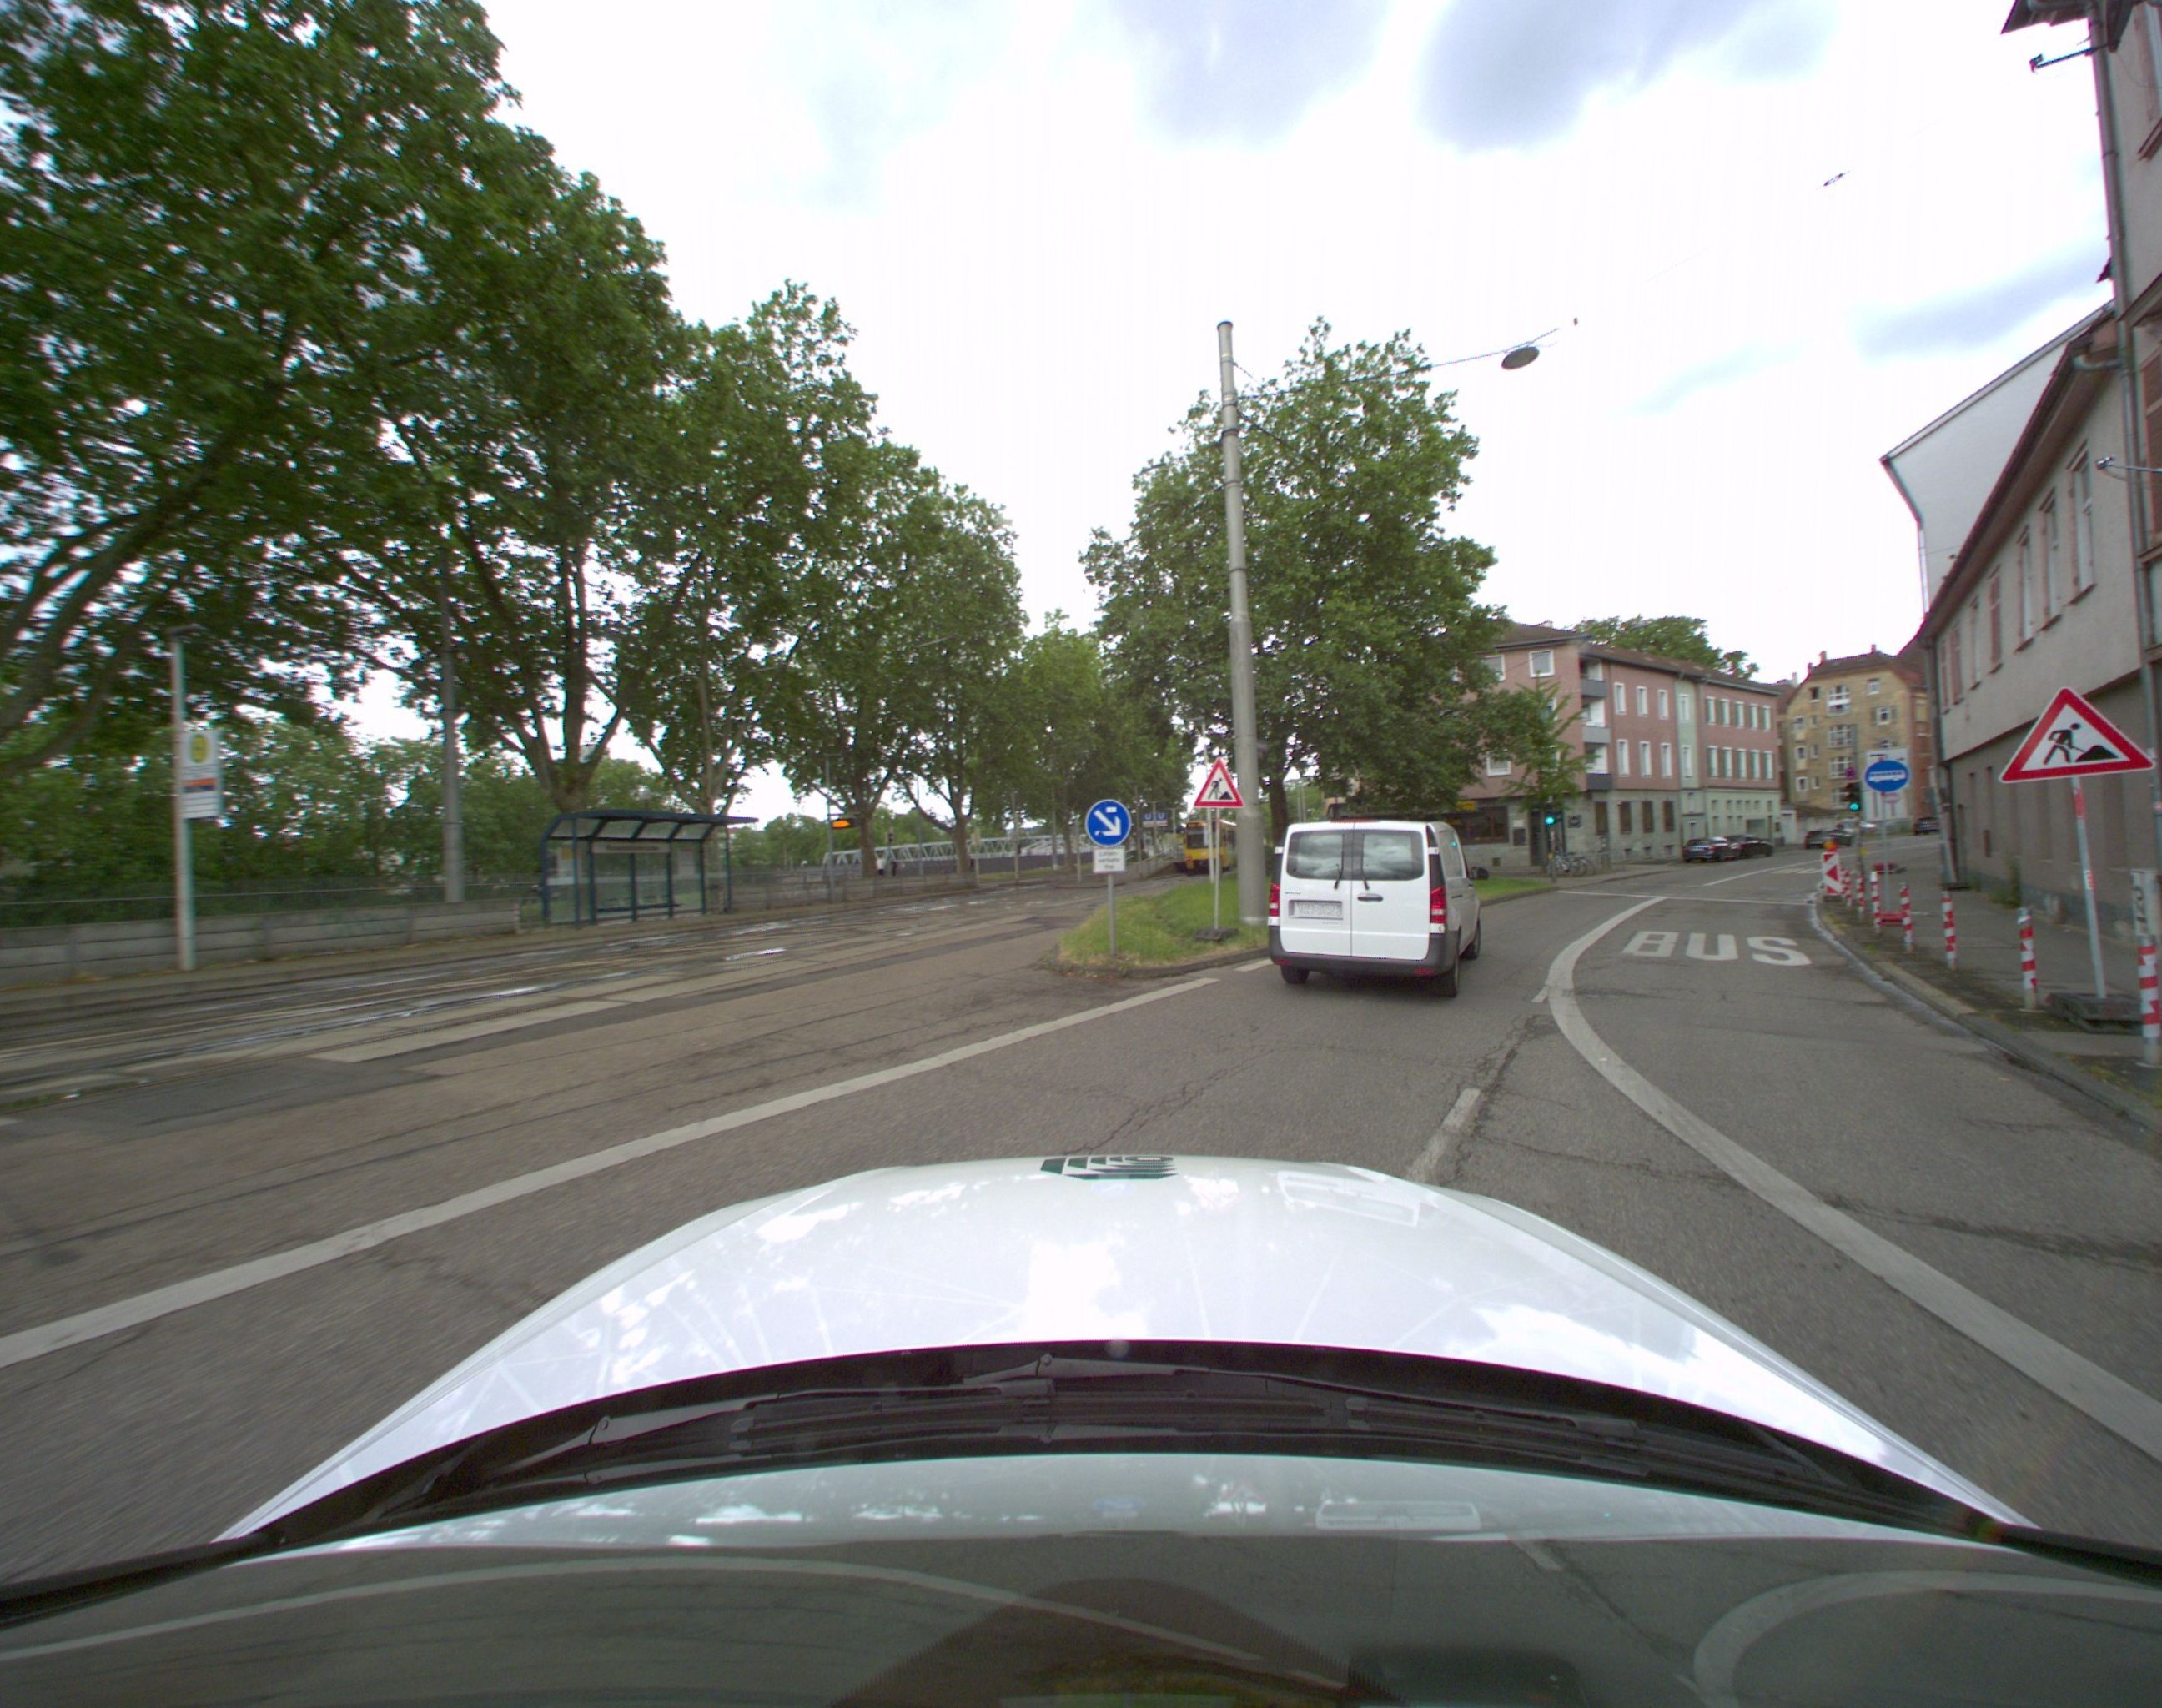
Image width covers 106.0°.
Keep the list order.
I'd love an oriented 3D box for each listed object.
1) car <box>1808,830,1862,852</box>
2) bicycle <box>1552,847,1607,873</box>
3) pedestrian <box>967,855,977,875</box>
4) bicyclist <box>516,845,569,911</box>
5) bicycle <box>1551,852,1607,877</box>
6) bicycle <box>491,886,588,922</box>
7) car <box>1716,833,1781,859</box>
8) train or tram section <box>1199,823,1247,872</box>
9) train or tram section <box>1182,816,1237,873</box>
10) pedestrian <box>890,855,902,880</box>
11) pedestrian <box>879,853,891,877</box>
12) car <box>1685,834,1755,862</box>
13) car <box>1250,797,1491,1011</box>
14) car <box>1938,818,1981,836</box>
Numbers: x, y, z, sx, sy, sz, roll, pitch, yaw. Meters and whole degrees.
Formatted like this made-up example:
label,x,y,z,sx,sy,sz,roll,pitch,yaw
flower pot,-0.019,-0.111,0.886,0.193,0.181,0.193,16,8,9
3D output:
label,x,y,z,sx,sy,sz,roll,pitch,yaw
car,54.478,-0.942,58.811,4.017,1.398,1.978,-2,-2,-35
bicycle,21.478,0.266,35.144,1.978,1.035,0.566,-2,-1,29
pedestrian,-8.418,0.881,62.912,0.540,1.498,0.646,-3,-2,14
bicyclist,-17.149,0.770,25.962,0.947,2.014,0.982,-4,-2,18
bicycle,20.811,0.443,34.081,1.978,1.035,0.566,-2,-1,29
bicycle,-17.141,1.559,25.863,0.924,1.014,2.508,-4,-2,18
car,40.519,-0.503,49.435,4.017,1.398,1.978,-2,-2,-35
train or tram section,11.087,-0.408,63.106,2.559,3.451,7.789,-4,-2,16
train or tram section,8.899,-0.529,55.621,2.559,3.451,7.789,-4,-2,16
pedestrian,-11.232,0.813,49.407,0.468,1.451,0.513,-3,-2,14
pedestrian,-11.973,0.662,49.633,0.468,1.451,0.513,-3,-2,14
car,36.436,-0.339,46.408,4.017,1.398,1.978,-2,-2,-35
car,3.859,0.506,10.218,1.932,2.014,4.727,-2,-1,30
car,78.233,-2.385,72.525,4.017,1.398,1.978,-2,-2,-35
